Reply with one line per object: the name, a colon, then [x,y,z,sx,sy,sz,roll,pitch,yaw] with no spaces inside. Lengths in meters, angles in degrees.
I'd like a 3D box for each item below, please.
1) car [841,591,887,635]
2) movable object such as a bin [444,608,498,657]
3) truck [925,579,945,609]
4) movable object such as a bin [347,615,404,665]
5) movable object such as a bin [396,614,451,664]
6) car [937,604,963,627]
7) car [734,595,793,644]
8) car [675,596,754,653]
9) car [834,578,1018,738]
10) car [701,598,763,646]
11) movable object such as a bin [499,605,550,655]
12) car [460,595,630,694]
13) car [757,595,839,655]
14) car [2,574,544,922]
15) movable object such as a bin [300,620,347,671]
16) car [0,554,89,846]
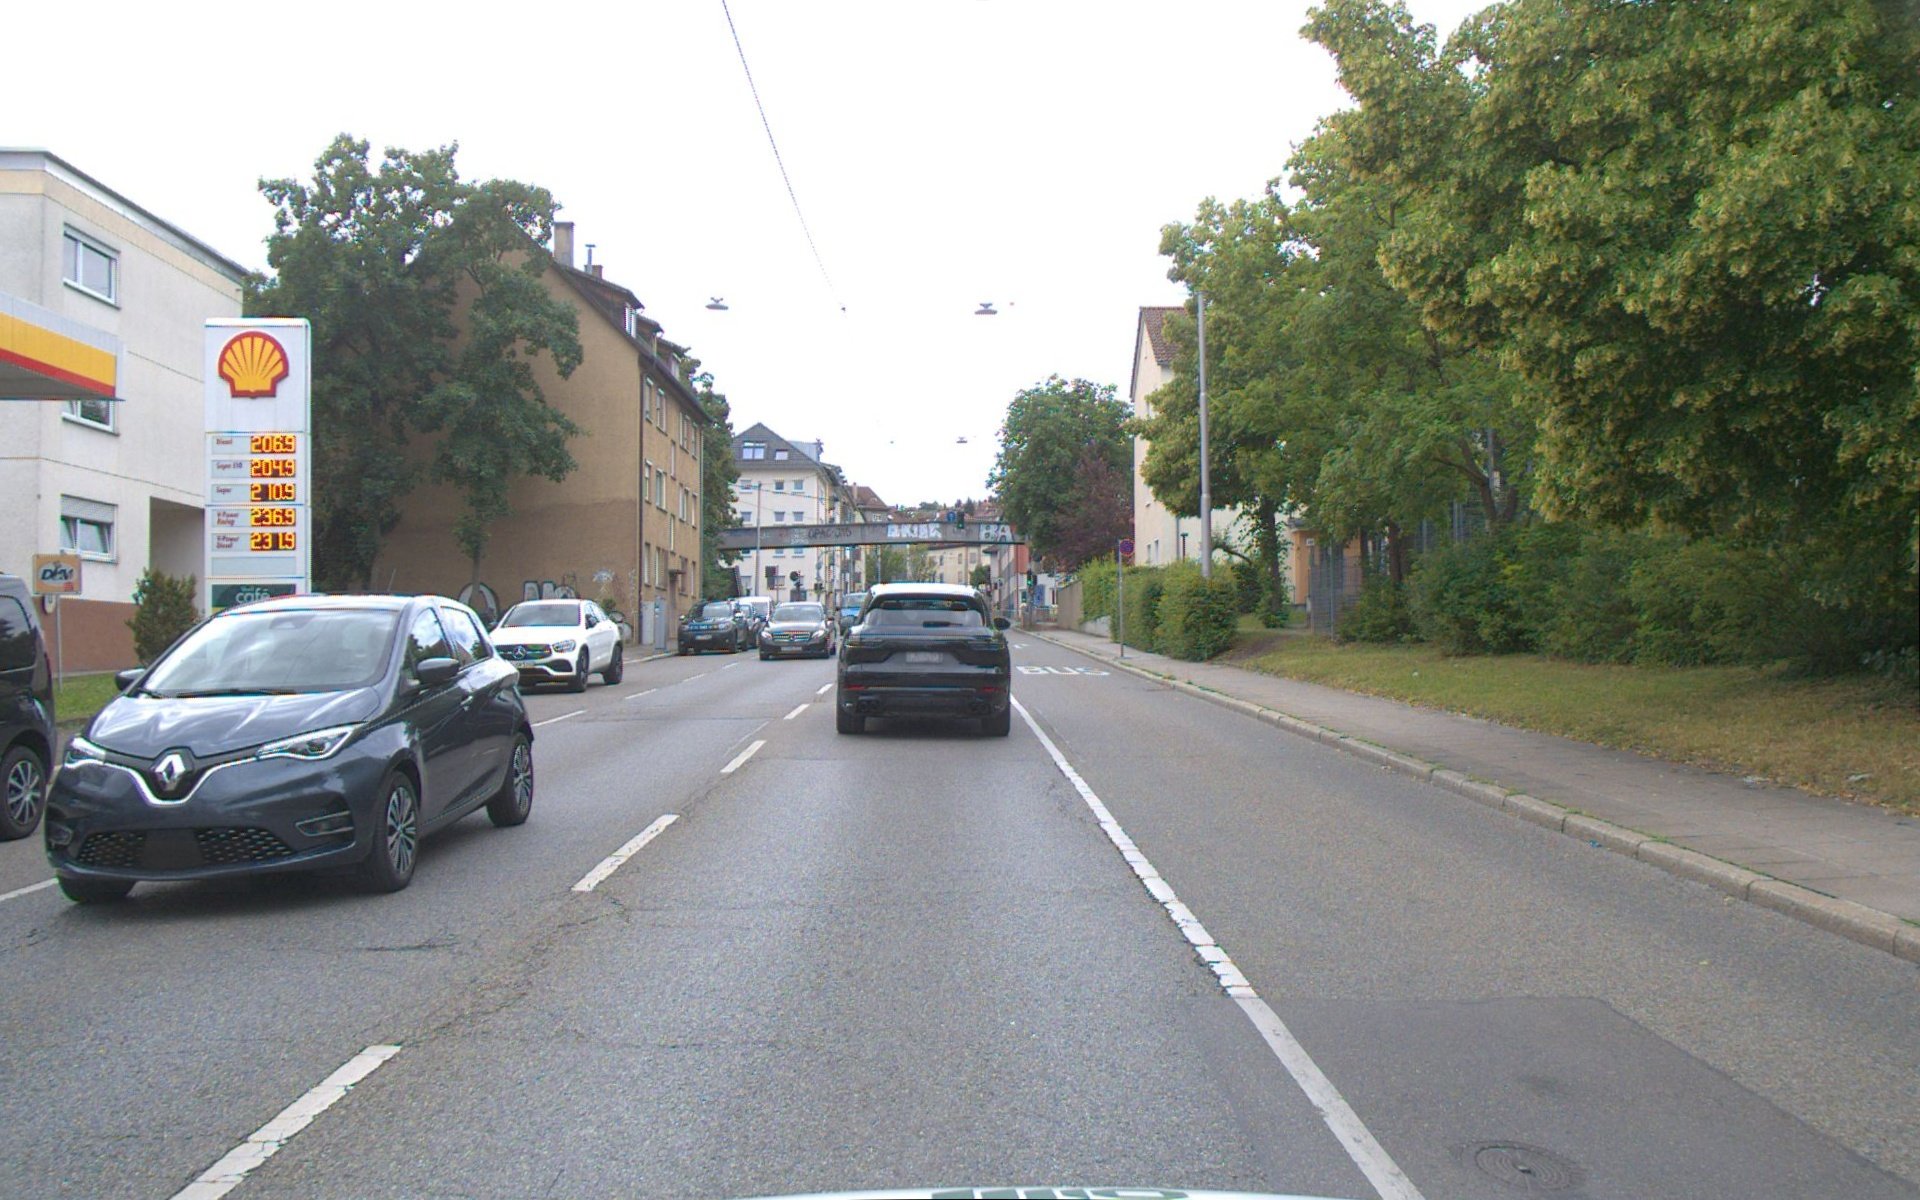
car: [-4.344,0.557,75.421,1.891,1.934,4.588,-1,0,-1]
movable object such as a bin: [-14.625,0.971,49.522,1.365,1.453,0.912,0,0,-3]
truck: [-2.987,-0.681,195.301,2.220,3.484,9.875,-1,0,-1]
movable object such as a bin: [-17.435,1.180,49.356,1.365,1.453,0.912,0,0,-3]
movable object such as a bin: [-16.036,1.166,49.443,1.365,1.453,0.912,0,0,-3]
car: [-0.664,1.016,111.243,1.706,1.424,4.000,0,1,-1]
car: [-7.501,0.723,63.579,1.740,1.784,4.556,-2,0,-1]
car: [-7.649,0.733,51.838,1.746,1.637,4.264,-3,0,0]
car: [-0.374,0.591,19.519,1.953,1.691,4.000,0,1,-1]
car: [-7.891,0.727,57.558,1.716,1.557,4.097,-2,0,-3]
movable object such as a bin: [-12.977,0.875,49.307,1.256,1.453,1.278,0,0,-5]
car: [-7.381,0.742,29.910,1.876,1.605,4.699,-1,0,0]
car: [-4.297,0.646,44.470,1.741,1.492,4.498,-1,0,0]
car: [-3.681,0.687,9.608,1.649,1.582,3.718,-2,0,-2]
movable object such as a bin: [-18.884,1.336,49.098,0.892,1.453,1.396,0,0,-3]
car: [-7.025,0.667,9.359,1.814,1.867,4.700,-2,0,-2]
